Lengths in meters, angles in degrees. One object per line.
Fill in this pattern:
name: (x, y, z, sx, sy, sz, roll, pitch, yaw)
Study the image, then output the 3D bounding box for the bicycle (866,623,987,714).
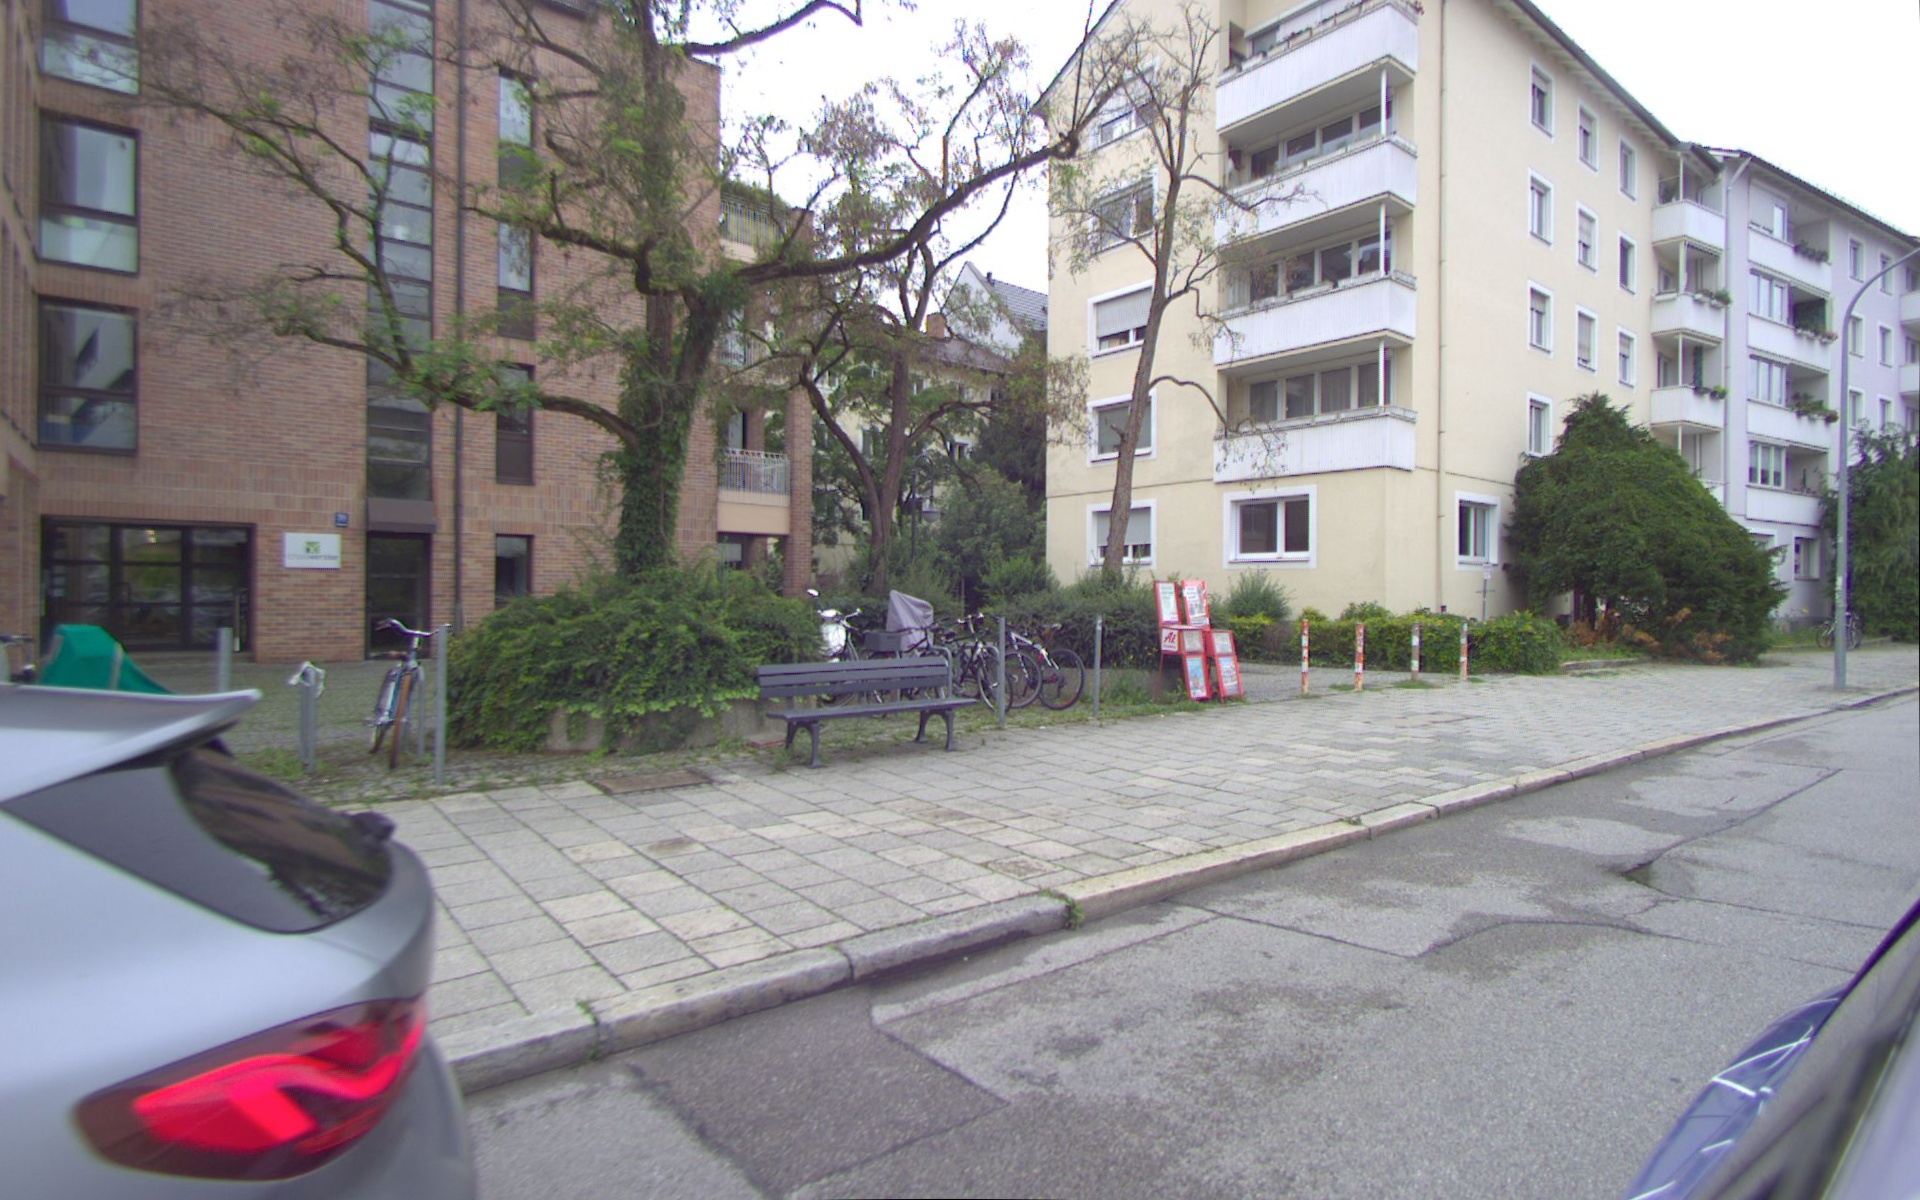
bicycle: (-0.416, 0.756, 11.694, 0.536, 0.978, 1.705, 2, -2, -36)

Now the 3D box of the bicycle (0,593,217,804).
bicycle: (-6.077, 0.609, 6.236, 2.373, 1.264, 0.534, -1, -1, -43)

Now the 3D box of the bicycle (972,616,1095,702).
bicycle: (0.864, 0.702, 12.399, 0.536, 0.978, 1.705, 2, -2, -36)

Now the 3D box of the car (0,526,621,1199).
car: (-2.730, 0.713, 0.788, 4.310, 1.532, 1.930, 0, -2, -37)

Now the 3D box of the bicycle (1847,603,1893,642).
bicycle: (27.589, 0.680, 30.668, 1.905, 1.132, 0.469, 1, 1, -31)

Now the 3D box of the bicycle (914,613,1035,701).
bicycle: (0.140, 0.663, 12.134, 0.536, 0.978, 1.705, 2, -2, -36)

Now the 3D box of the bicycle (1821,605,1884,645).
bicycle: (25.761, 0.728, 29.213, 1.903, 1.132, 0.469, 1, 0, -19)

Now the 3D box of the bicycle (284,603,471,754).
bicycle: (-4.776, 0.629, 8.318, 1.338, 1.188, 0.420, 0, -2, 8)
